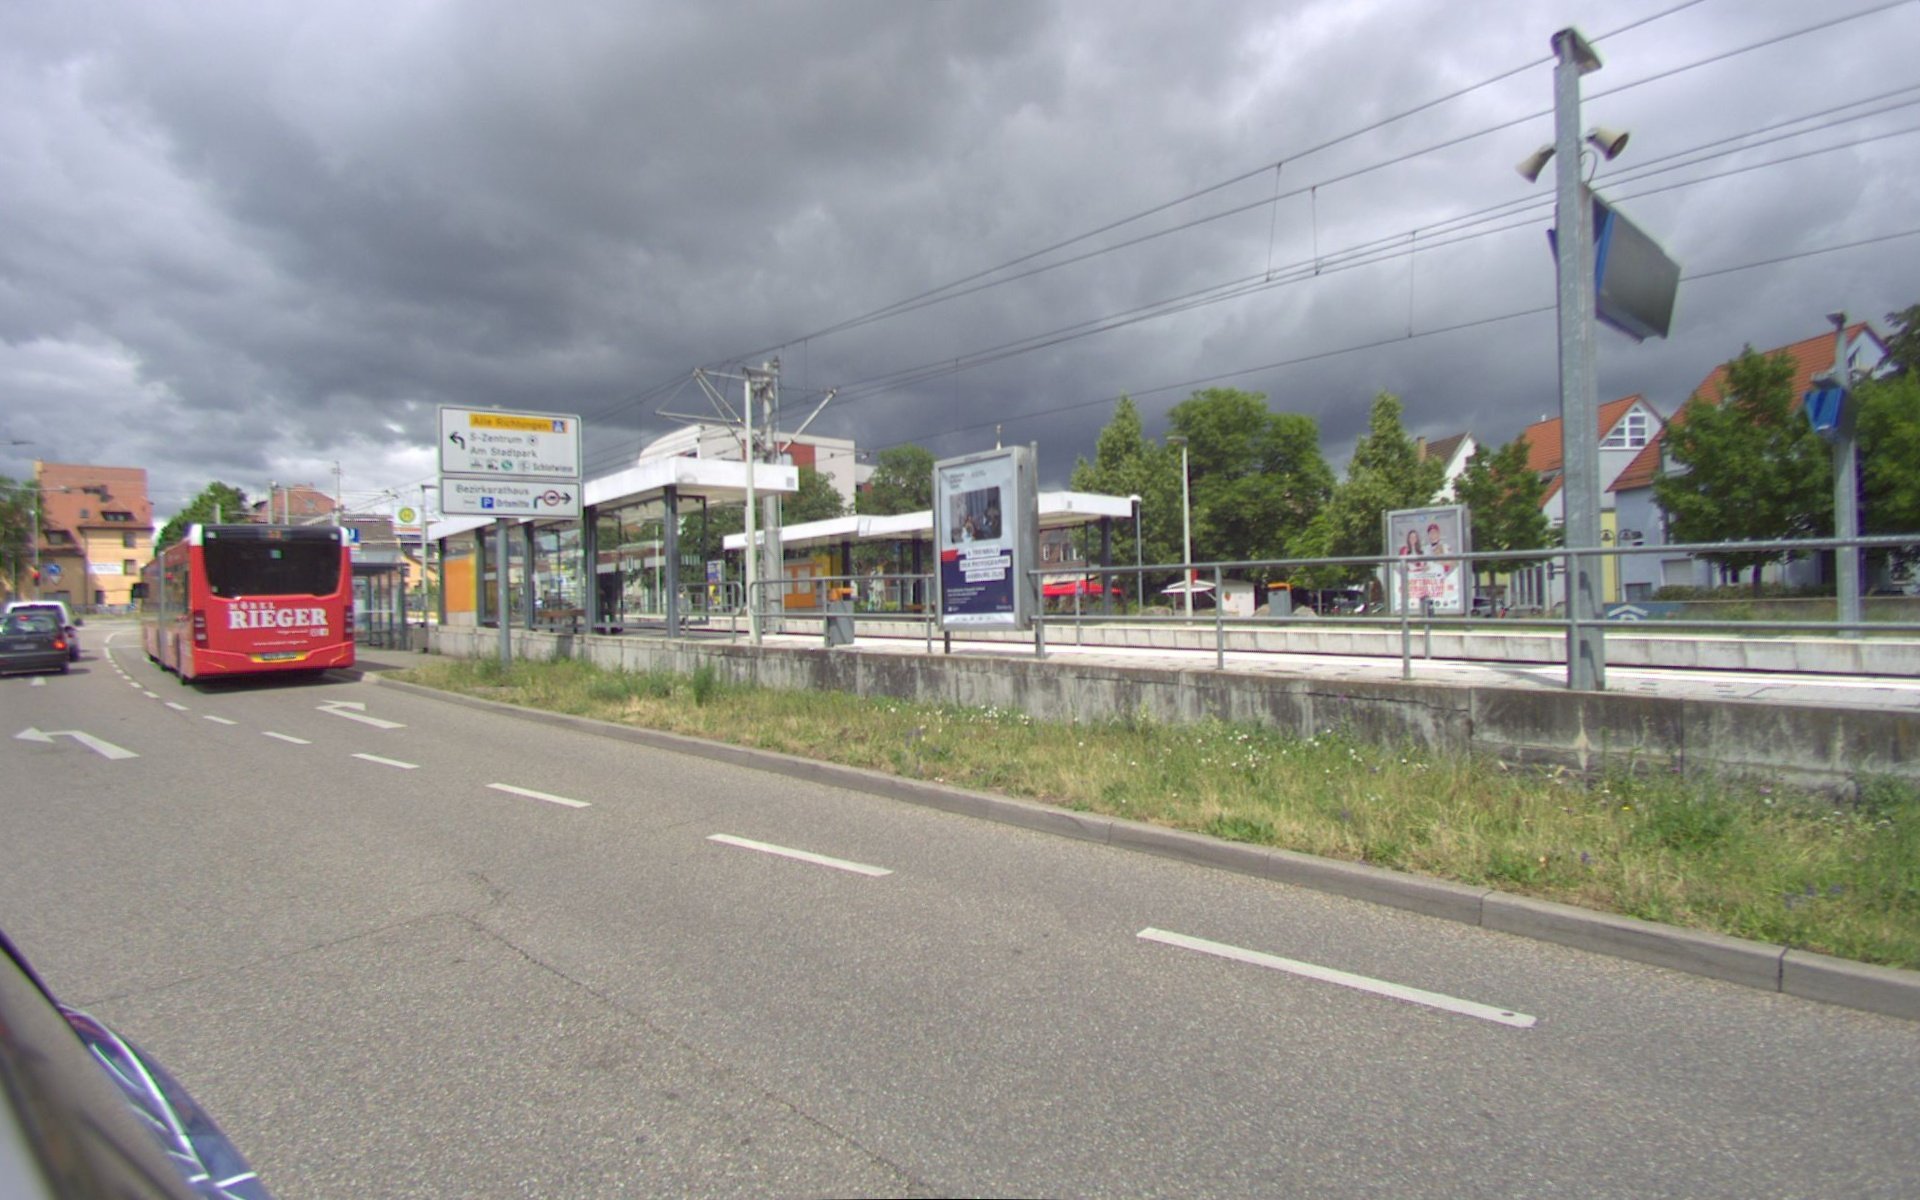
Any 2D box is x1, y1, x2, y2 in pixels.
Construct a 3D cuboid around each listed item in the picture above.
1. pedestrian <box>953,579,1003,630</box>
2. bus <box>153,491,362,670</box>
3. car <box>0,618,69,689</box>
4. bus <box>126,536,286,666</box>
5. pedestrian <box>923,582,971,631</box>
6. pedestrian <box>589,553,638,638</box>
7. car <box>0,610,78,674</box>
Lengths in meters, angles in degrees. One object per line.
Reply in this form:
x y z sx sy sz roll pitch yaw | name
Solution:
0.460 0.124 26.472 0.747 1.302 1.114 0 -1 -40 | pedestrian
-15.355 -0.174 21.743 2.692 3.093 8.975 -1 -2 -41 | bus
-23.011 1.265 24.937 1.511 1.562 3.738 -3 1 -41 | car
-21.605 0.203 28.724 2.693 3.133 9.714 -1 -2 -42 | bus
-0.351 0.173 27.374 0.747 1.302 1.114 0 -1 -40 | pedestrian
-6.967 -0.084 20.358 0.679 1.669 0.701 -1 -2 -42 | pedestrian
-27.809 1.298 30.434 1.741 1.675 4.509 1 -5 -43 | car
